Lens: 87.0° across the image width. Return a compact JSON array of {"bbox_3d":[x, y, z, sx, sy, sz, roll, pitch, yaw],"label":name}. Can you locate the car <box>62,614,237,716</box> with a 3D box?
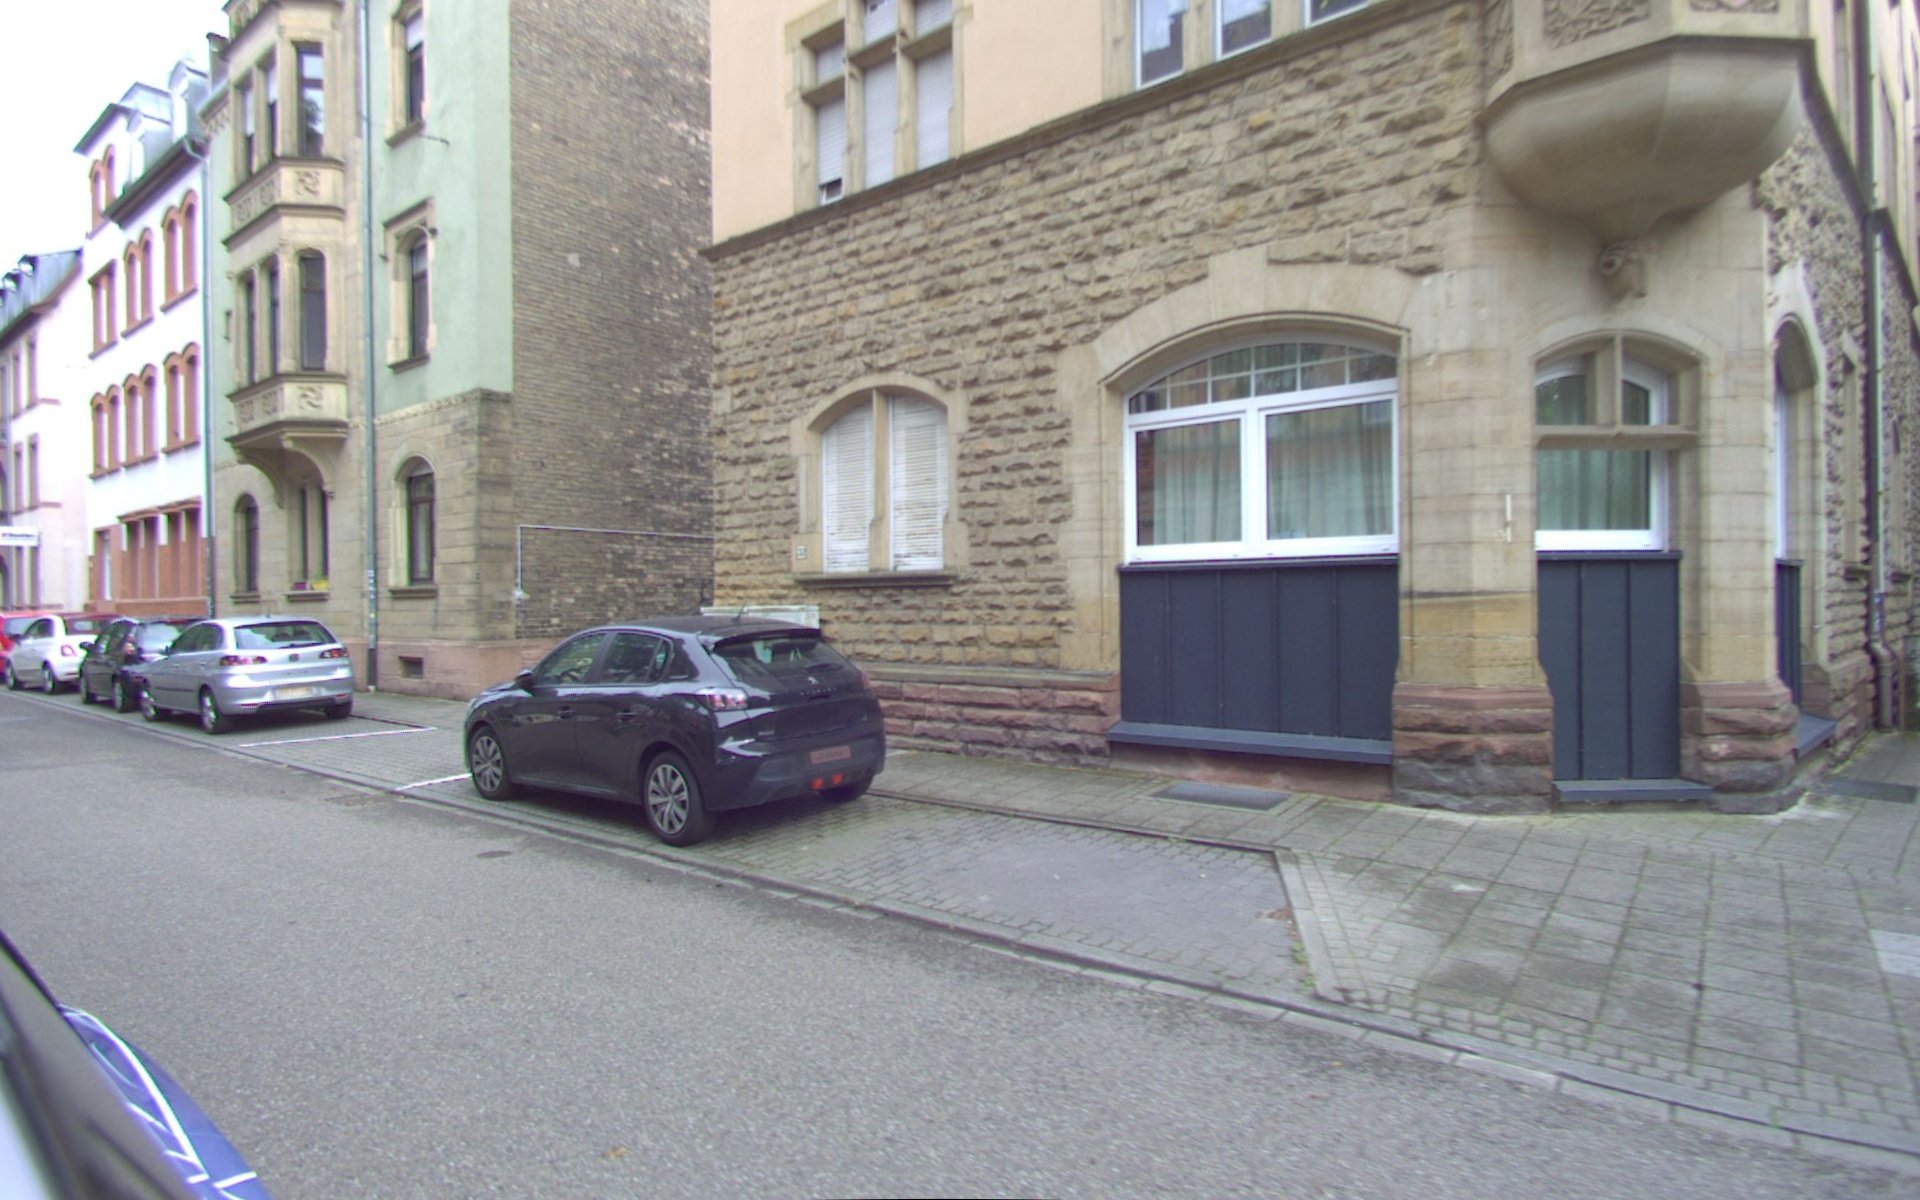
[{"bbox_3d":[-13.417,1.011,16.705,3.451,1.445,1.502,-2,1,39],"label":"car"}]

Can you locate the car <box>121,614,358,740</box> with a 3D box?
[{"bbox_3d":[-10.001,0.973,13.958,3.803,1.445,1.575,-2,1,37],"label":"car"}]

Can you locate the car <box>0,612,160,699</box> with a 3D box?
[{"bbox_3d":[-17.426,1.035,19.916,3.544,1.522,1.652,-1,0,34],"label":"car"}]

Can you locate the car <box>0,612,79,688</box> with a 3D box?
[{"bbox_3d":[-21.170,1.085,22.725,3.564,1.541,1.451,-2,1,39],"label":"car"}]

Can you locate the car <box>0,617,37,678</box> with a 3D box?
[{"bbox_3d":[-24.634,1.203,25.455,3.913,1.427,1.451,-2,1,39],"label":"car"}]

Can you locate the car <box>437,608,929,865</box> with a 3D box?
[{"bbox_3d":[-2.279,0.846,7.842,3.877,1.445,1.711,-2,1,39],"label":"car"}]

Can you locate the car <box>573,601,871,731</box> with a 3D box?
[{"bbox_3d":[-3.294,0.830,14.610,1.765,1.576,3.948,-1,0,38],"label":"car"}]
